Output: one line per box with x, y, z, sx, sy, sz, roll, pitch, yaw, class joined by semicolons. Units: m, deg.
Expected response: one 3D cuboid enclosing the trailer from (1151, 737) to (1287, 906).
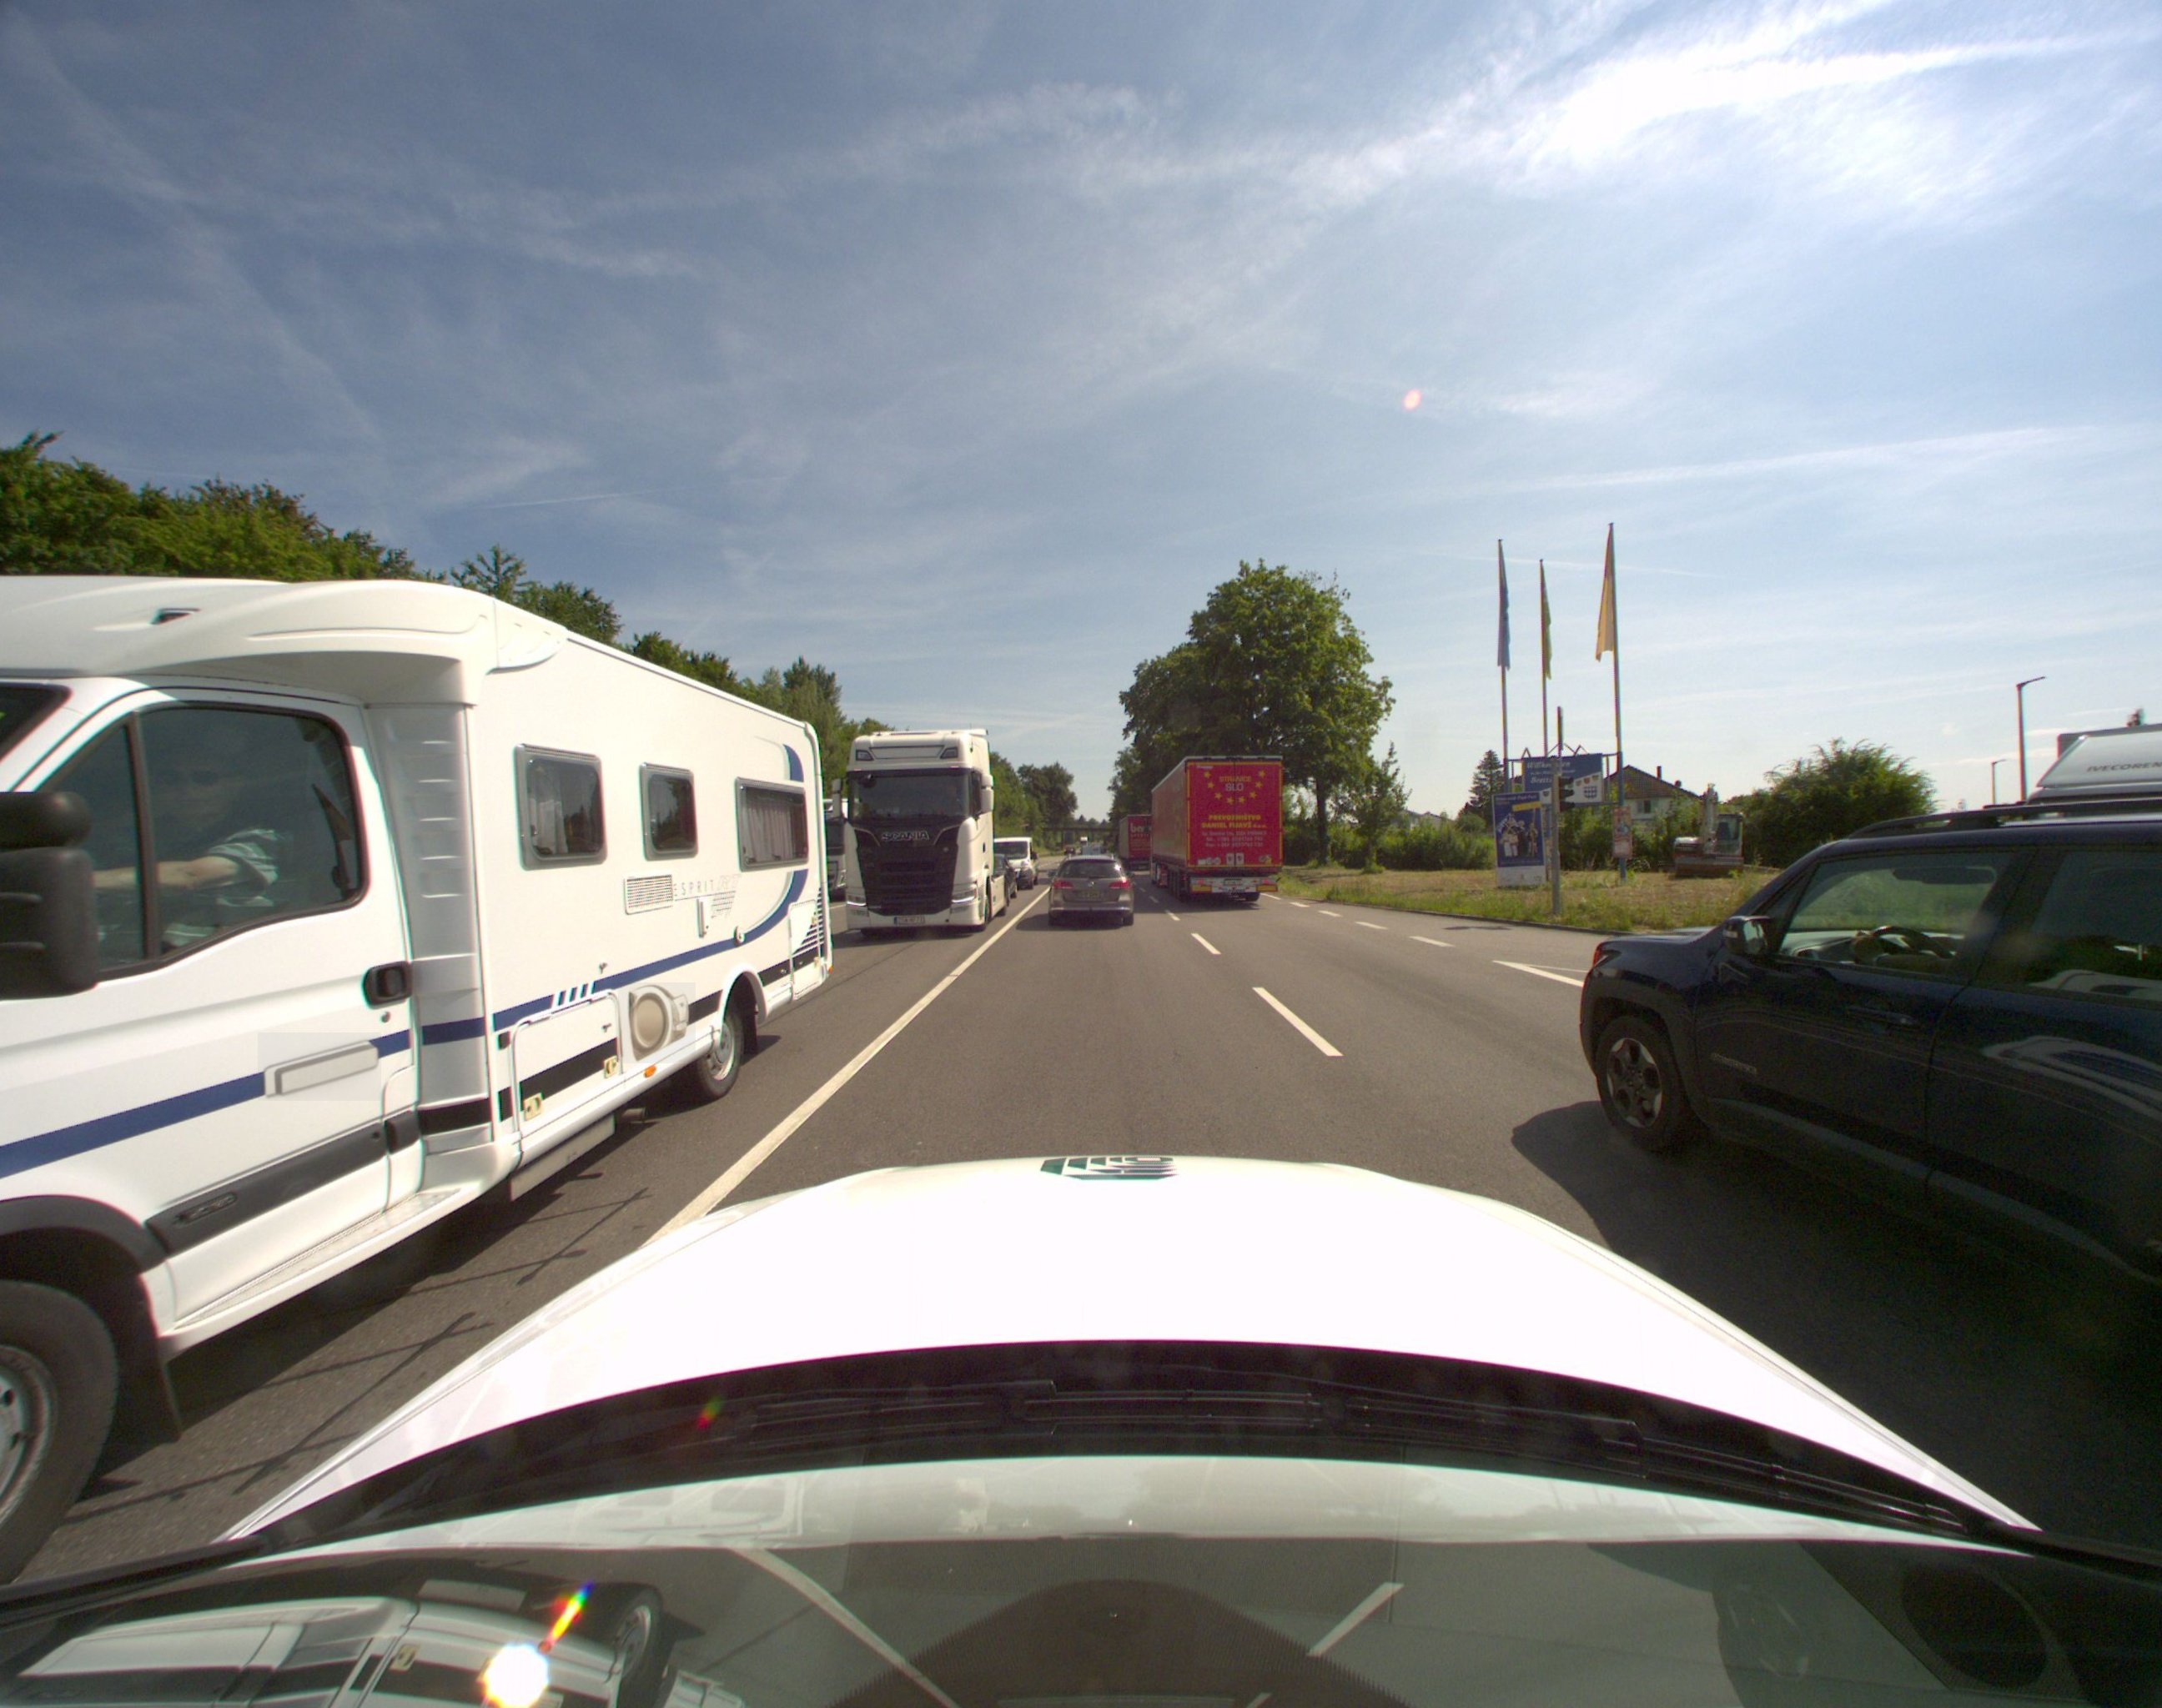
4.157;-0.844;27.775;2.828;4.365;13.174;0;0;2;trailer

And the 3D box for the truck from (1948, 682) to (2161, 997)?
16.943;0.072;11.206;9.689;3.628;2.752;3;-2;-16;truck

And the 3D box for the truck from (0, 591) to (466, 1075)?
-10.271;-0.136;6.849;2.720;3.999;9.619;-2;0;0;truck

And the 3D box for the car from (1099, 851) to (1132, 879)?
2.010;0.650;48.211;1.764;1.513;4.000;-2;0;0;car

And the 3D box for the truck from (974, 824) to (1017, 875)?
-6.316;-0.310;60.808;2.335;3.520;6.696;-2;0;0;truck

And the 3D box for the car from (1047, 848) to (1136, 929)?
0.215;0.681;17.974;1.686;1.513;4.000;-2;0;0;car

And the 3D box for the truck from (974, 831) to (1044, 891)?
-2.960;0.275;35.058;2.219;2.267;6.501;-2;0;1;truck

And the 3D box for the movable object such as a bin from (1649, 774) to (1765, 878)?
22.279;-0.923;29.050;2.863;3.207;6.748;-3;0;38;movable object such as a bin

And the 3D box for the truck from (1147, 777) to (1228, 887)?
4.398;-0.863;34.750;2.859;4.281;5.842;0;0;2;truck

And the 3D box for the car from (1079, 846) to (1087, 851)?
0.488;-1.430;220.262;1.955;1.414;4.003;-2;0;3;car

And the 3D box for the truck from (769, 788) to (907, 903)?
-9.997;-0.314;34.844;2.821;4.116;9.680;-2;0;0;truck

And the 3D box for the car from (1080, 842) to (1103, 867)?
0.838;0.038;66.494;1.764;1.936;3.977;-2;0;0;car

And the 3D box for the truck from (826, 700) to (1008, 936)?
-3.173;-0.641;17.540;2.529;4.087;6.264;-2;0;0;truck

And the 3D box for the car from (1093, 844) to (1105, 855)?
3.372;-0.862;152.757;1.987;2.013;4.000;-2;0;0;car

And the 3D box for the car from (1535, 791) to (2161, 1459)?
3.560;0.637;2.854;1.763;1.654;4.002;-2;0;2;car

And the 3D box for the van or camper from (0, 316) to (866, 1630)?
-3.250;0.254;3.924;2.322;2.600;6.980;-2;0;1;van or camper

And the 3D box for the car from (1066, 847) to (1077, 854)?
-1.860;-0.664;164.971;1.787;1.345;3.772;-2;0;4;car

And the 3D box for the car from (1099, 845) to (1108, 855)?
4.871;-0.857;176.990;1.987;2.013;4.000;-2;0;0;car

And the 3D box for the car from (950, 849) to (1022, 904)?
-2.926;0.670;25.980;1.705;1.551;4.109;-2;0;1;car

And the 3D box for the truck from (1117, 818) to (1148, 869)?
4.391;-0.839;69.818;2.397;4.127;5.524;-2;0;2;truck

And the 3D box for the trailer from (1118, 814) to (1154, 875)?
4.178;-0.674;63.979;2.386;4.243;13.086;-2;0;2;trailer

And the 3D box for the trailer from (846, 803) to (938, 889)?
-9.998;-0.382;44.191;2.831;4.069;8.754;-2;0;0;trailer
